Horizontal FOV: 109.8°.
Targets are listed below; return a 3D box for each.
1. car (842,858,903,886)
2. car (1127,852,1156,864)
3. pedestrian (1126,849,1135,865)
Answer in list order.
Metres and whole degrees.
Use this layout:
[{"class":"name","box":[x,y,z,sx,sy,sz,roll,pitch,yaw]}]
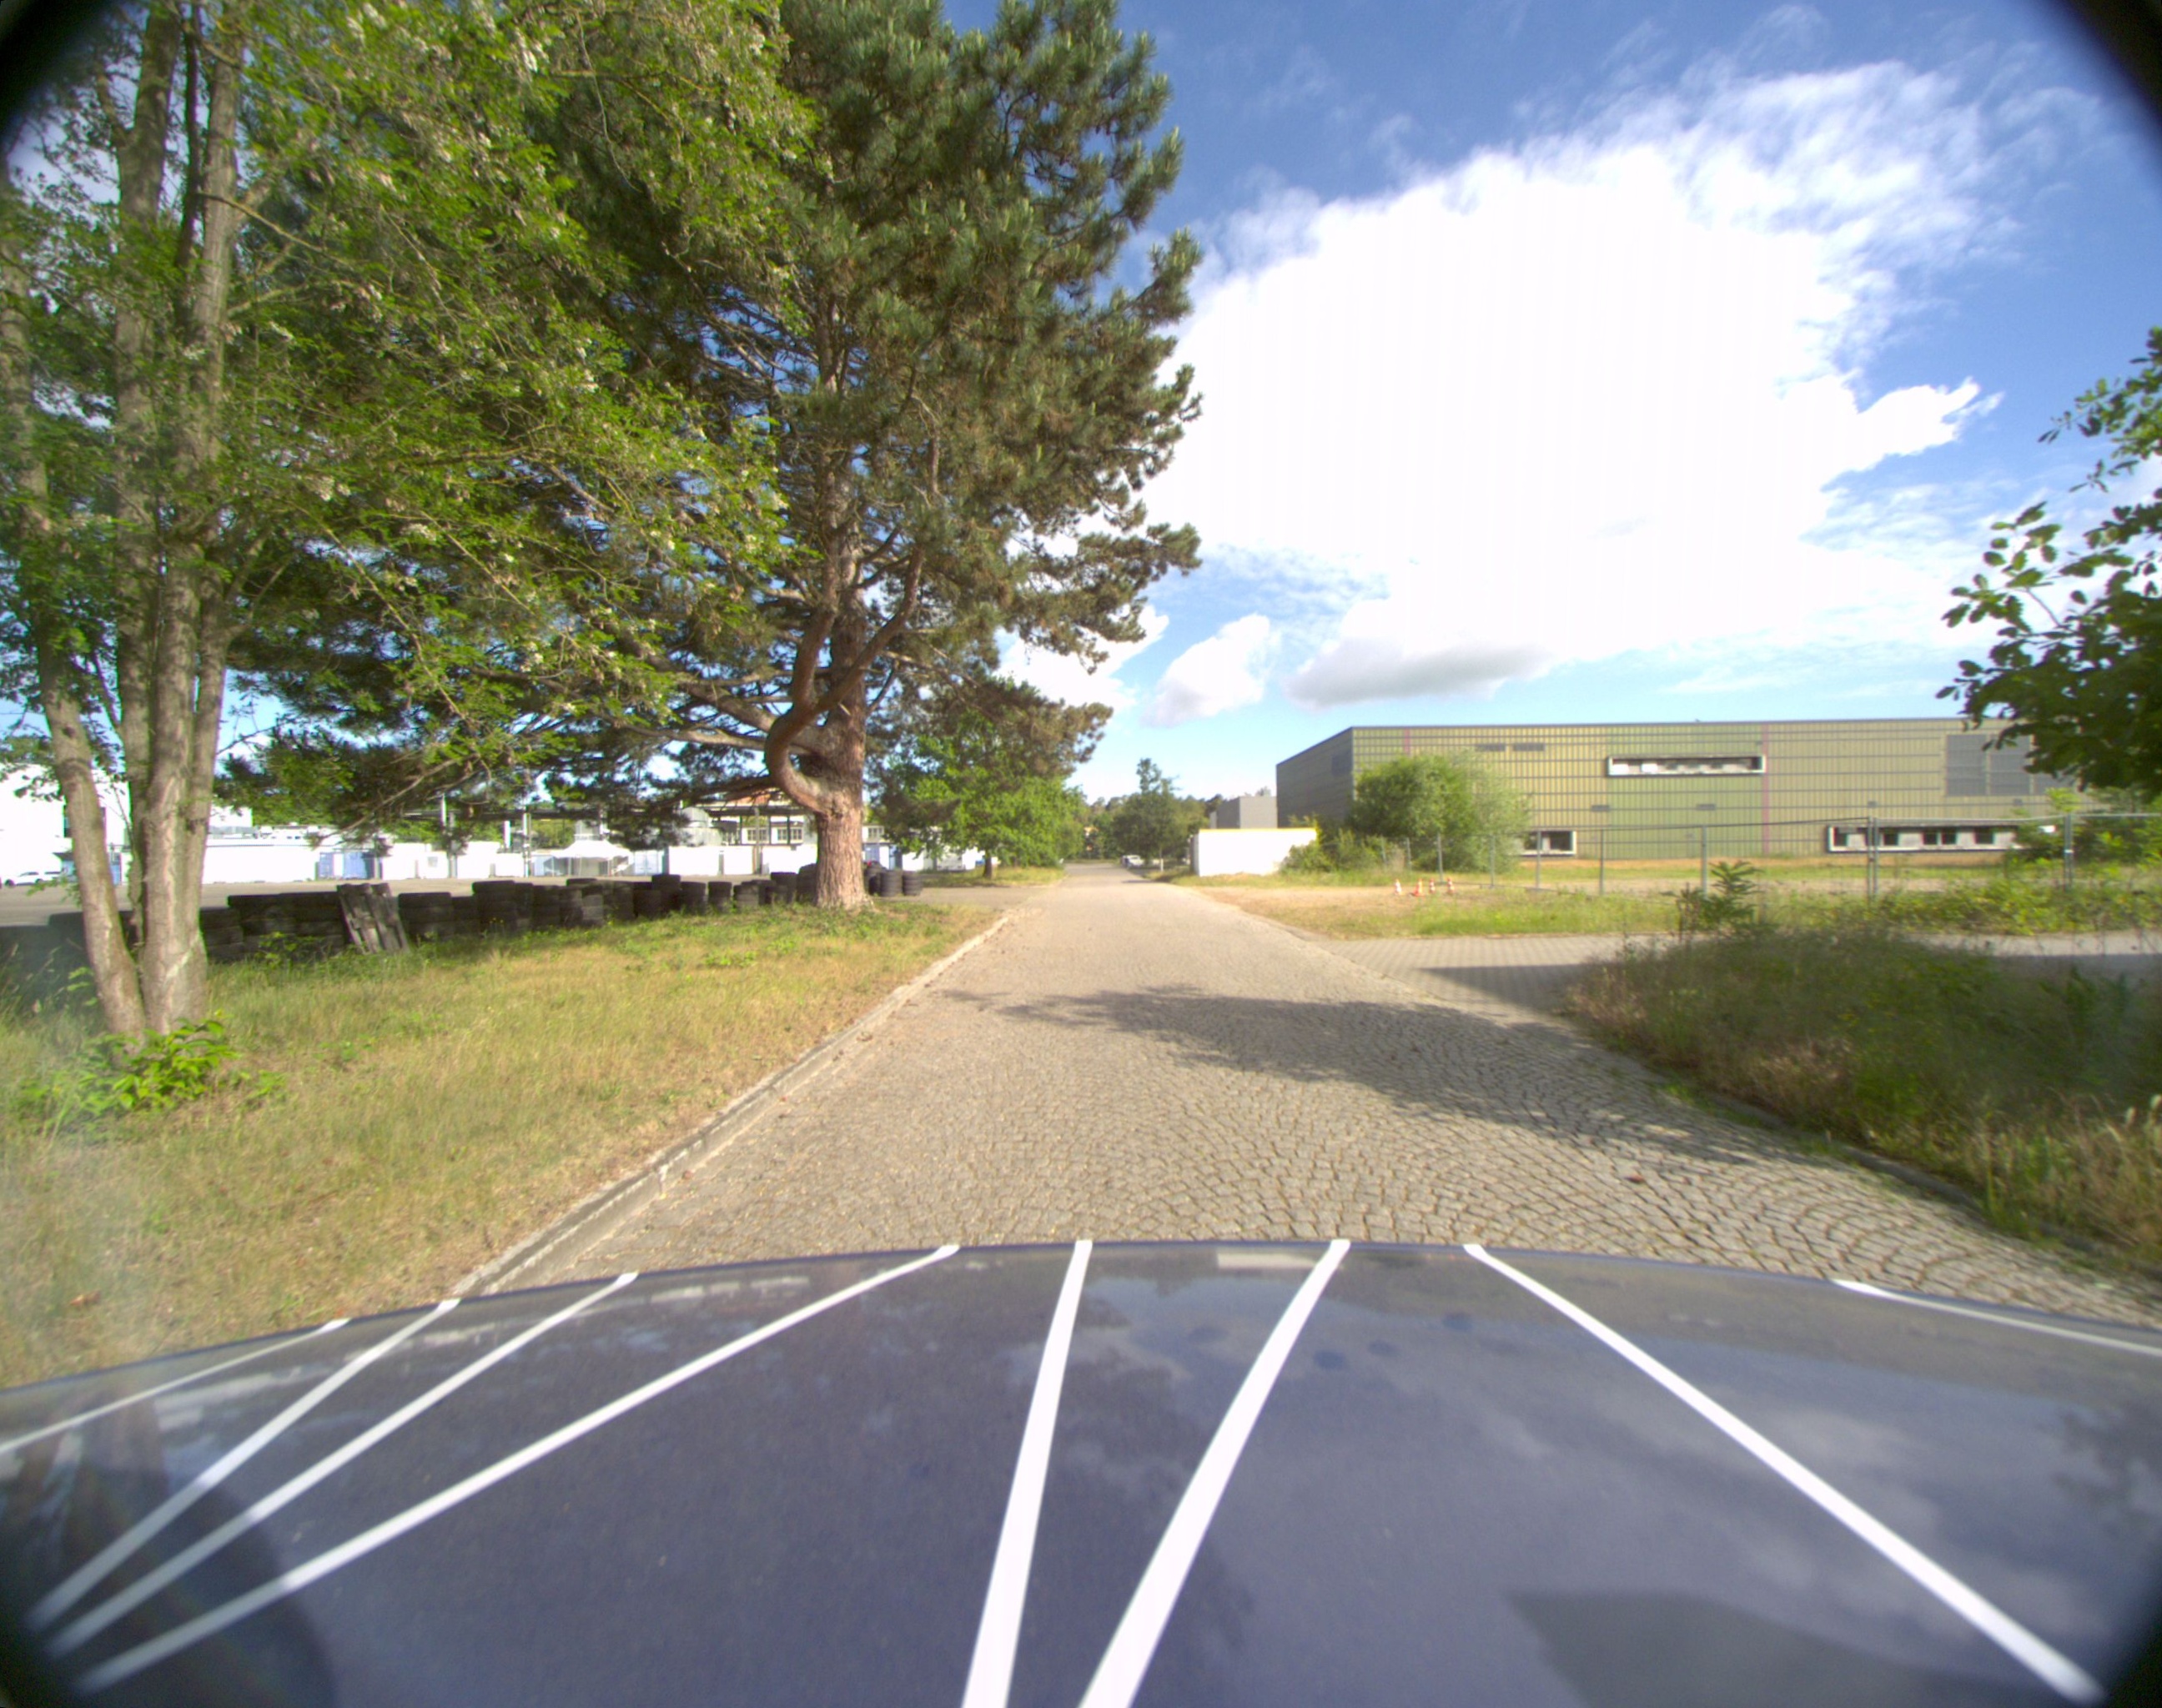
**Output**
[{"class":"car","box":[-11.487,0.985,42.172,1.846,1.440,4.002,-1,0,7]},{"class":"car","box":[8.544,0.512,107.071,3.996,1.678,2.000,-1,0,4]},{"class":"pedestrian","box":[5.516,0.298,84.673,0.908,1.797,0.983,-1,1,-6]}]
